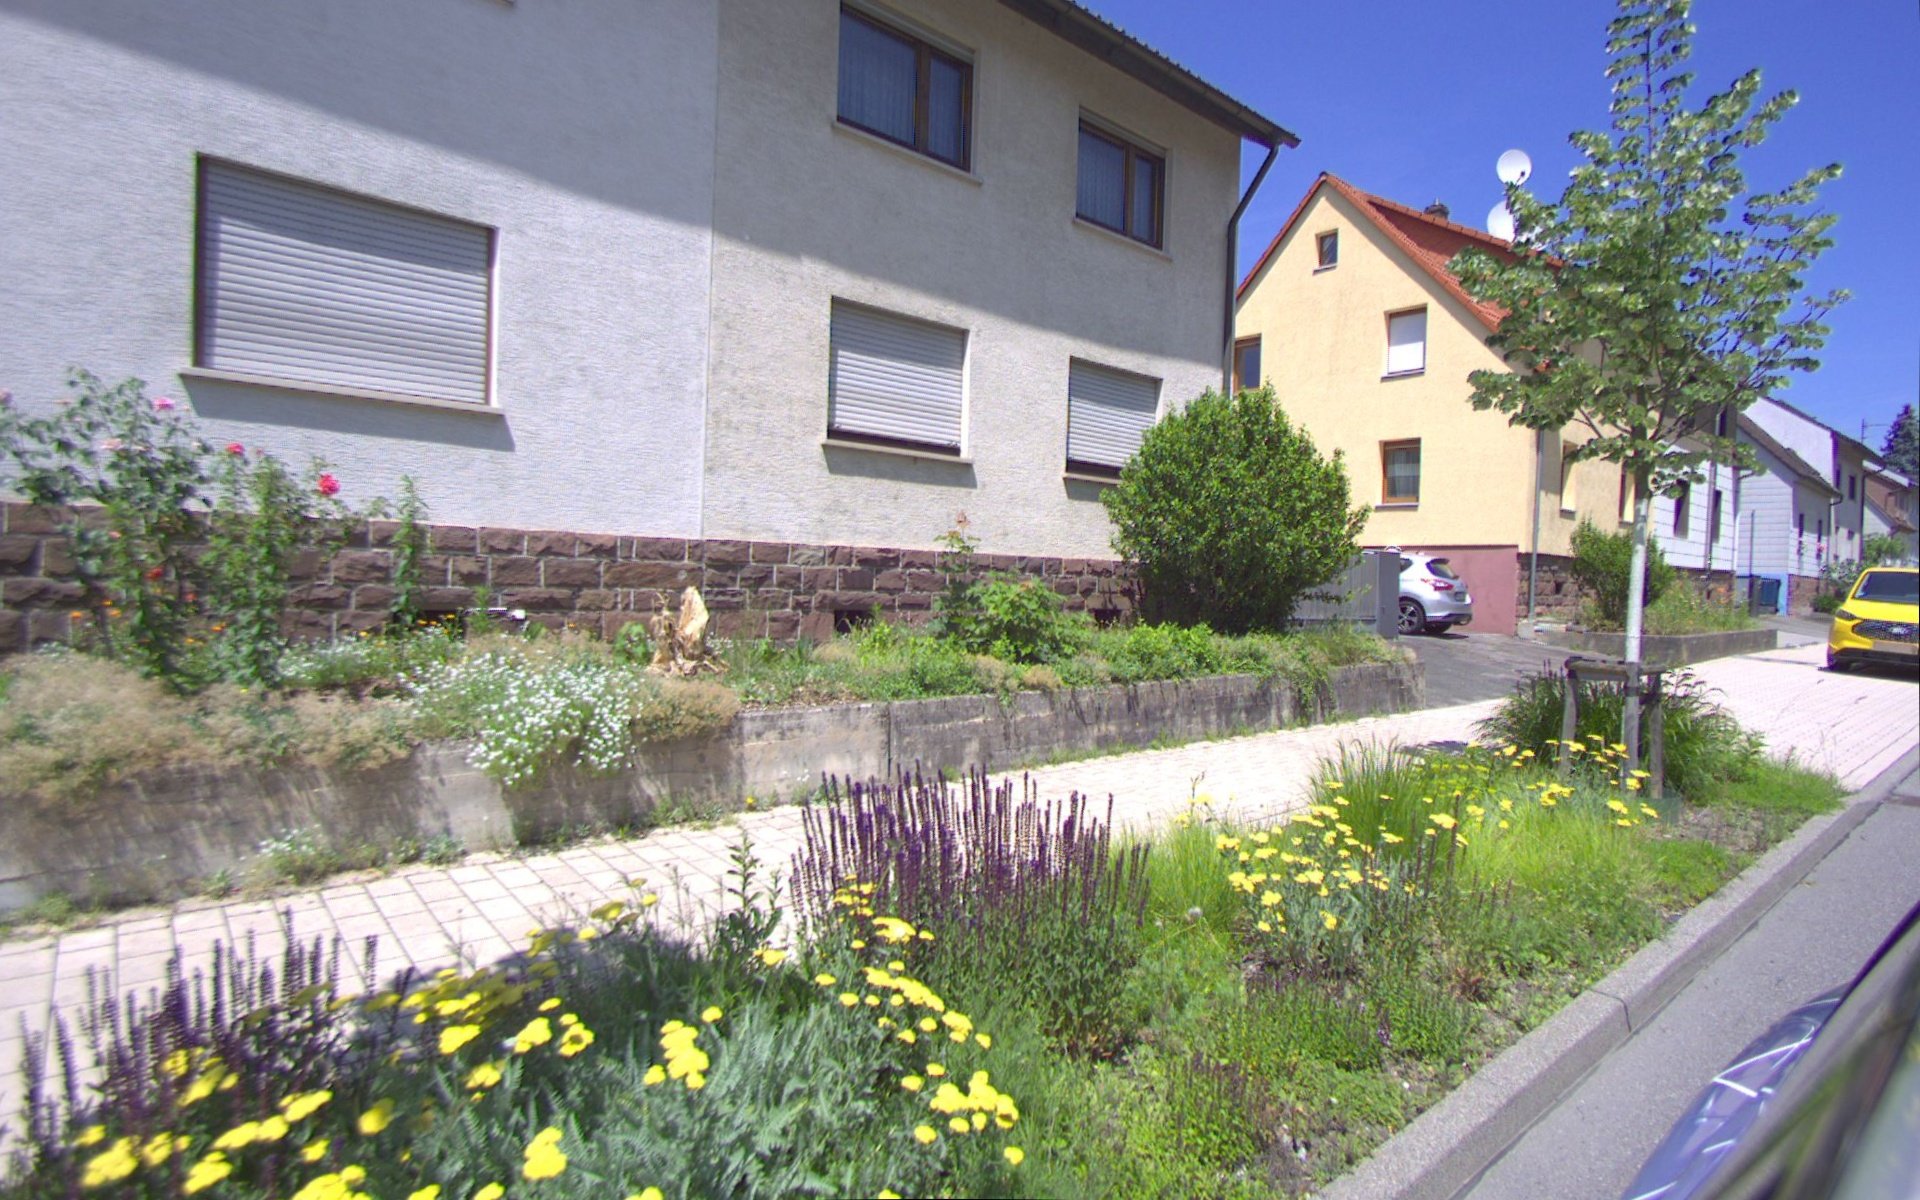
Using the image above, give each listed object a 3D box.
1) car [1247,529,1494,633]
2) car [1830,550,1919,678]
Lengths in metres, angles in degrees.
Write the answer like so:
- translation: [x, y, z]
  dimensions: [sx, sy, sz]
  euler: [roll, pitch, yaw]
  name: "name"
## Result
- translation: [7.906, -0.438, 19.743]
  dimensions: [1.843, 1.696, 3.994]
  euler: [0, 5, -43]
  name: "car"
- translation: [17.917, 0.210, 18.544]
  dimensions: [5.528, 2.037, 2.194]
  euler: [-2, 6, -42]
  name: "car"
